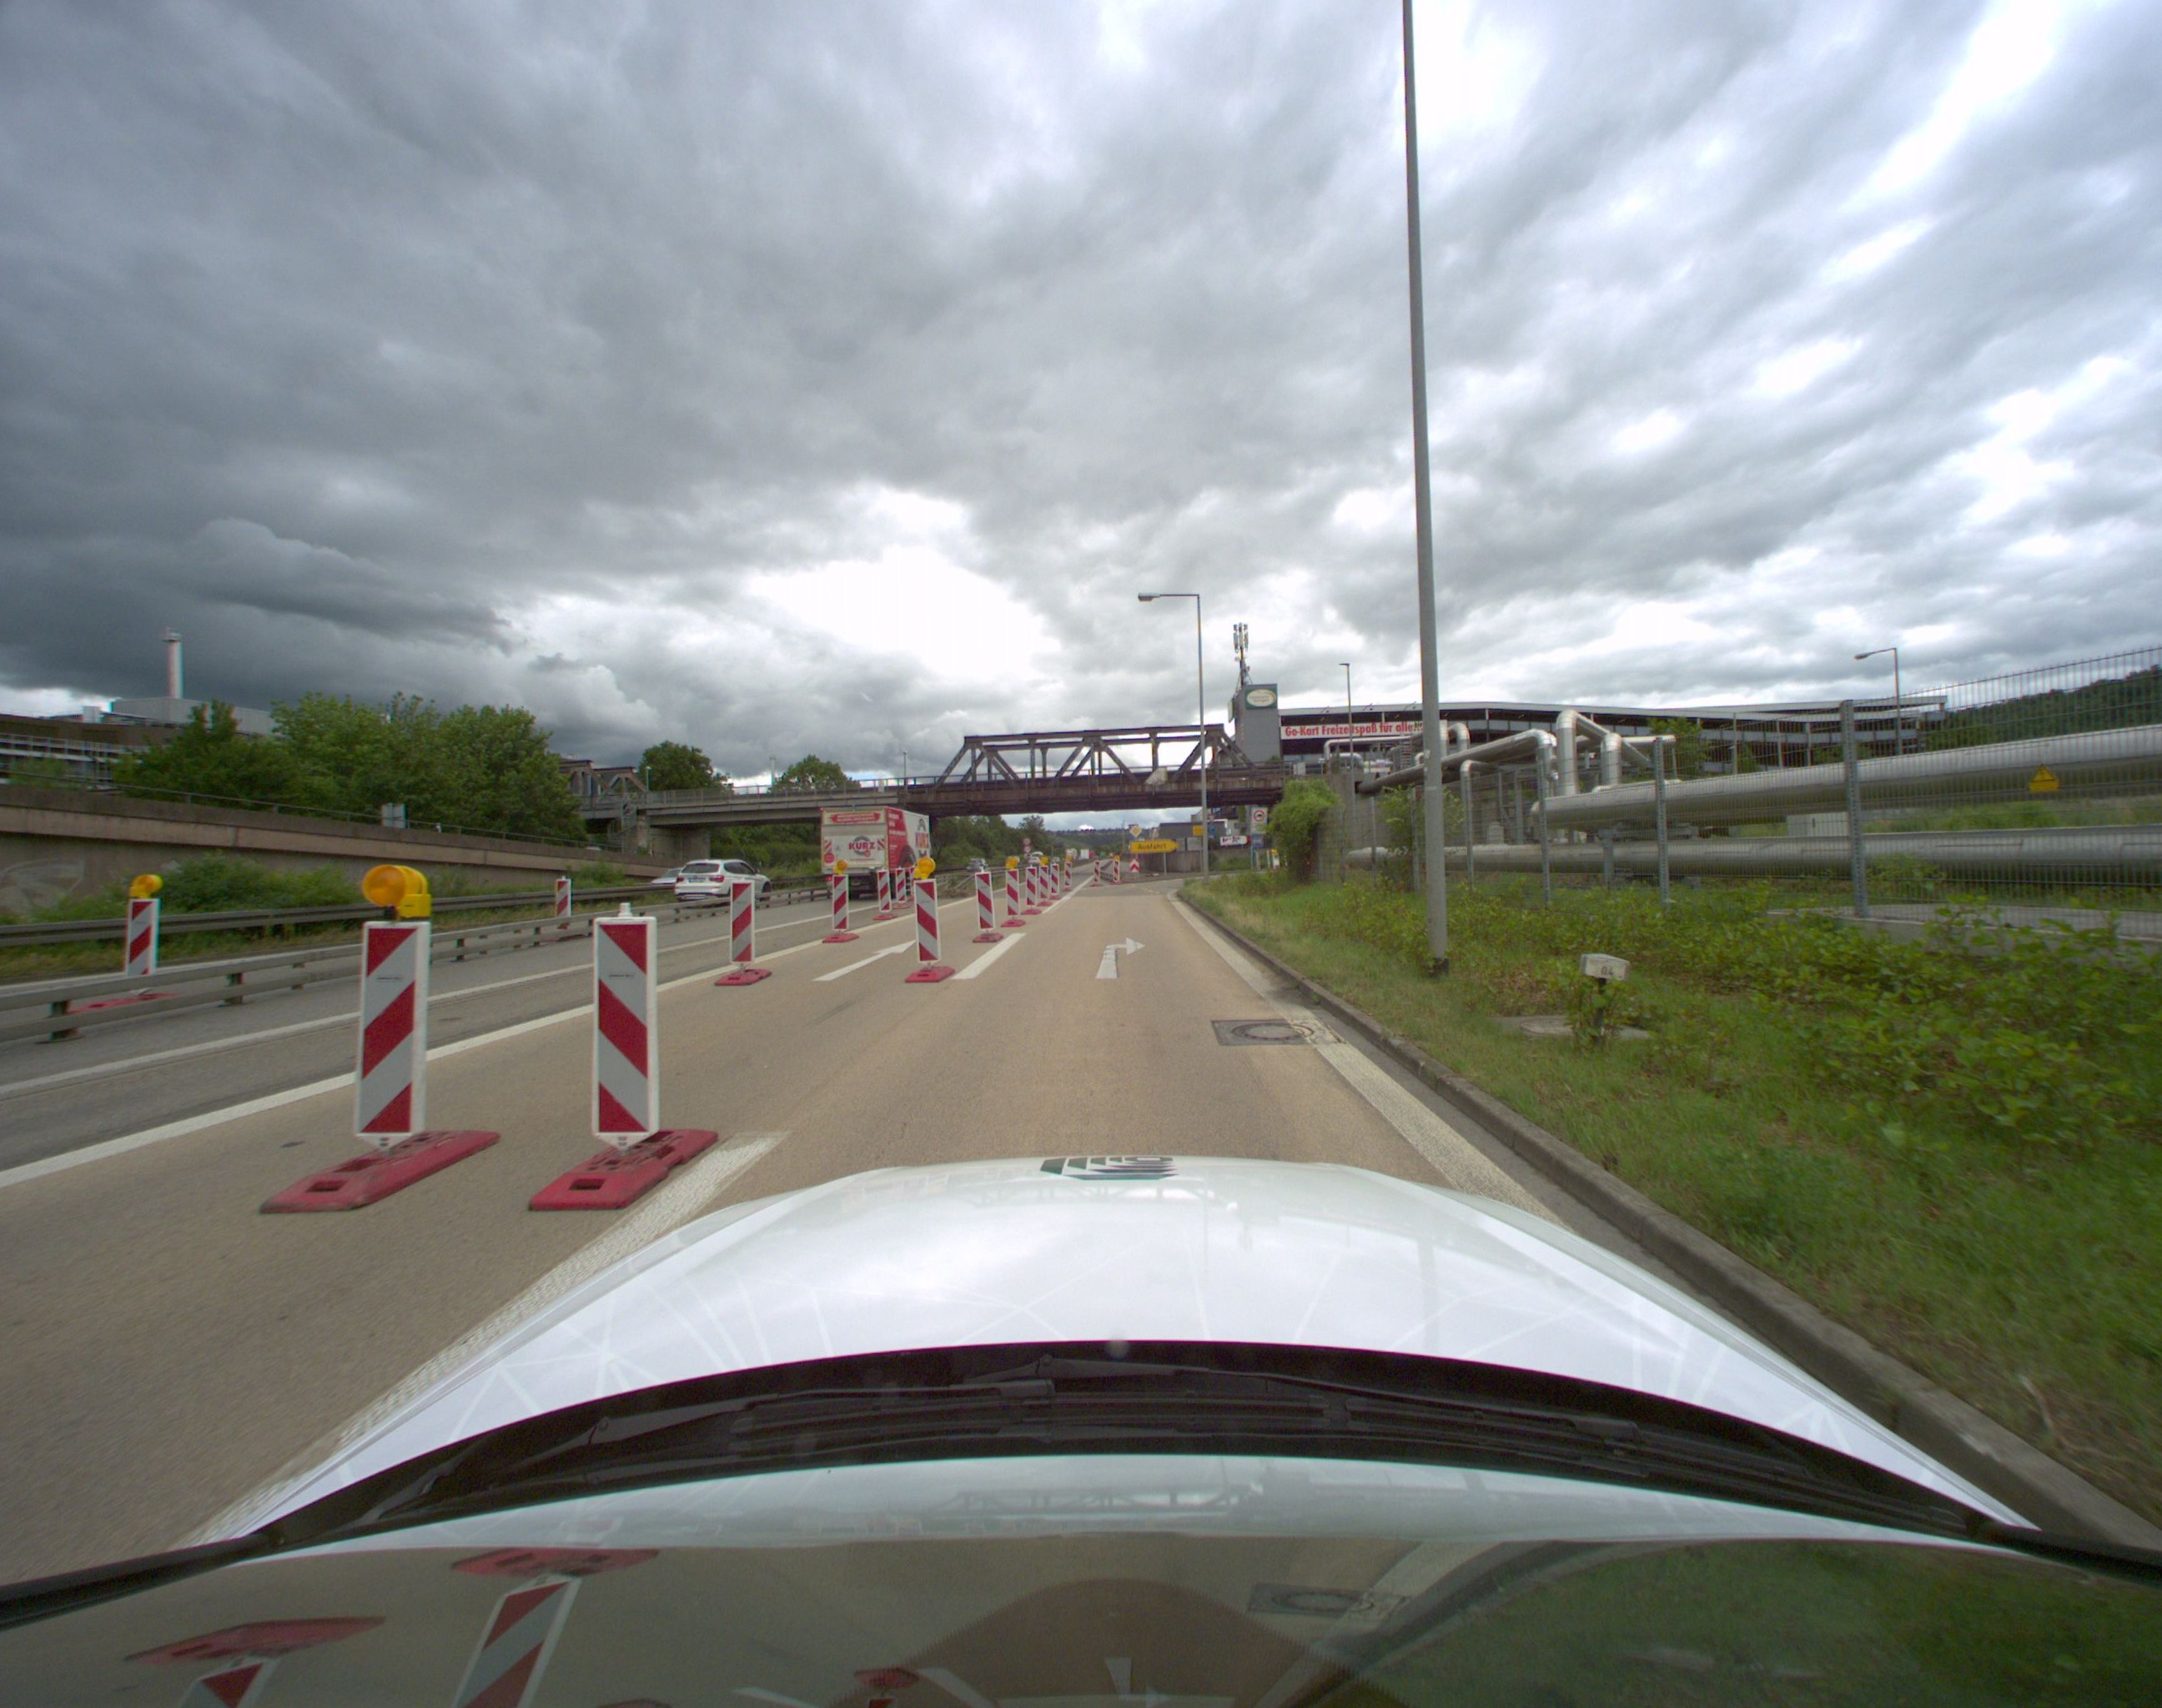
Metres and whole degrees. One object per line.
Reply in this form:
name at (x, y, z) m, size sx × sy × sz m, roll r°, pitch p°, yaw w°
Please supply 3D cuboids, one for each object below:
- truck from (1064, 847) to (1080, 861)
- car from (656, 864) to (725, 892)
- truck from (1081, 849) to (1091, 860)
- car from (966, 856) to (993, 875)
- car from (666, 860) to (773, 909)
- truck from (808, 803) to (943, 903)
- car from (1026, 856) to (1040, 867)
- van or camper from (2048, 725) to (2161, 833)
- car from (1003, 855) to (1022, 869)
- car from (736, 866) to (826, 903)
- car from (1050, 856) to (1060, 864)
truck at (-2.455, -0.053, 218.818) m, size 3.704 × 3.645 × 7.734 m, roll -1°, pitch 0°, yaw 3°
car at (-22.040, 1.316, 46.144) m, size 1.883 × 1.452 × 3.979 m, roll -2°, pitch -1°, yaw 0°
truck at (1.419, 0.154, 239.125) m, size 2.670 × 3.140 × 6.137 m, roll -1°, pitch 0°, yaw 3°
car at (-9.986, 1.132, 80.676) m, size 1.986 × 1.759 × 4.001 m, roll -2°, pitch -1°, yaw 1°
car at (-12.926, 1.044, 29.445) m, size 1.847 × 1.640 × 4.293 m, roll -1°, pitch -1°, yaw 2°
truck at (-8.494, -0.065, 35.326) m, size 2.942 × 3.629 × 10.157 m, roll -1°, pitch 0°, yaw 1°
car at (-7.799, 1.203, 132.996) m, size 1.986 × 1.816 × 4.001 m, roll -1°, pitch 0°, yaw 1°
van or camper at (29.463, -1.982, 20.651) m, size 6.068 × 2.548 × 2.583 m, roll -2°, pitch -1°, yaw 10°
car at (-8.916, 1.031, 106.418) m, size 1.986 × 1.759 × 4.001 m, roll -2°, pitch -1°, yaw 1°
car at (-12.752, 1.268, 34.999) m, size 1.965 × 1.414 × 4.602 m, roll -2°, pitch -1°, yaw 2°
car at (-5.560, 1.252, 173.879) m, size 1.772 × 1.596 × 3.753 m, roll -1°, pitch 0°, yaw 3°
